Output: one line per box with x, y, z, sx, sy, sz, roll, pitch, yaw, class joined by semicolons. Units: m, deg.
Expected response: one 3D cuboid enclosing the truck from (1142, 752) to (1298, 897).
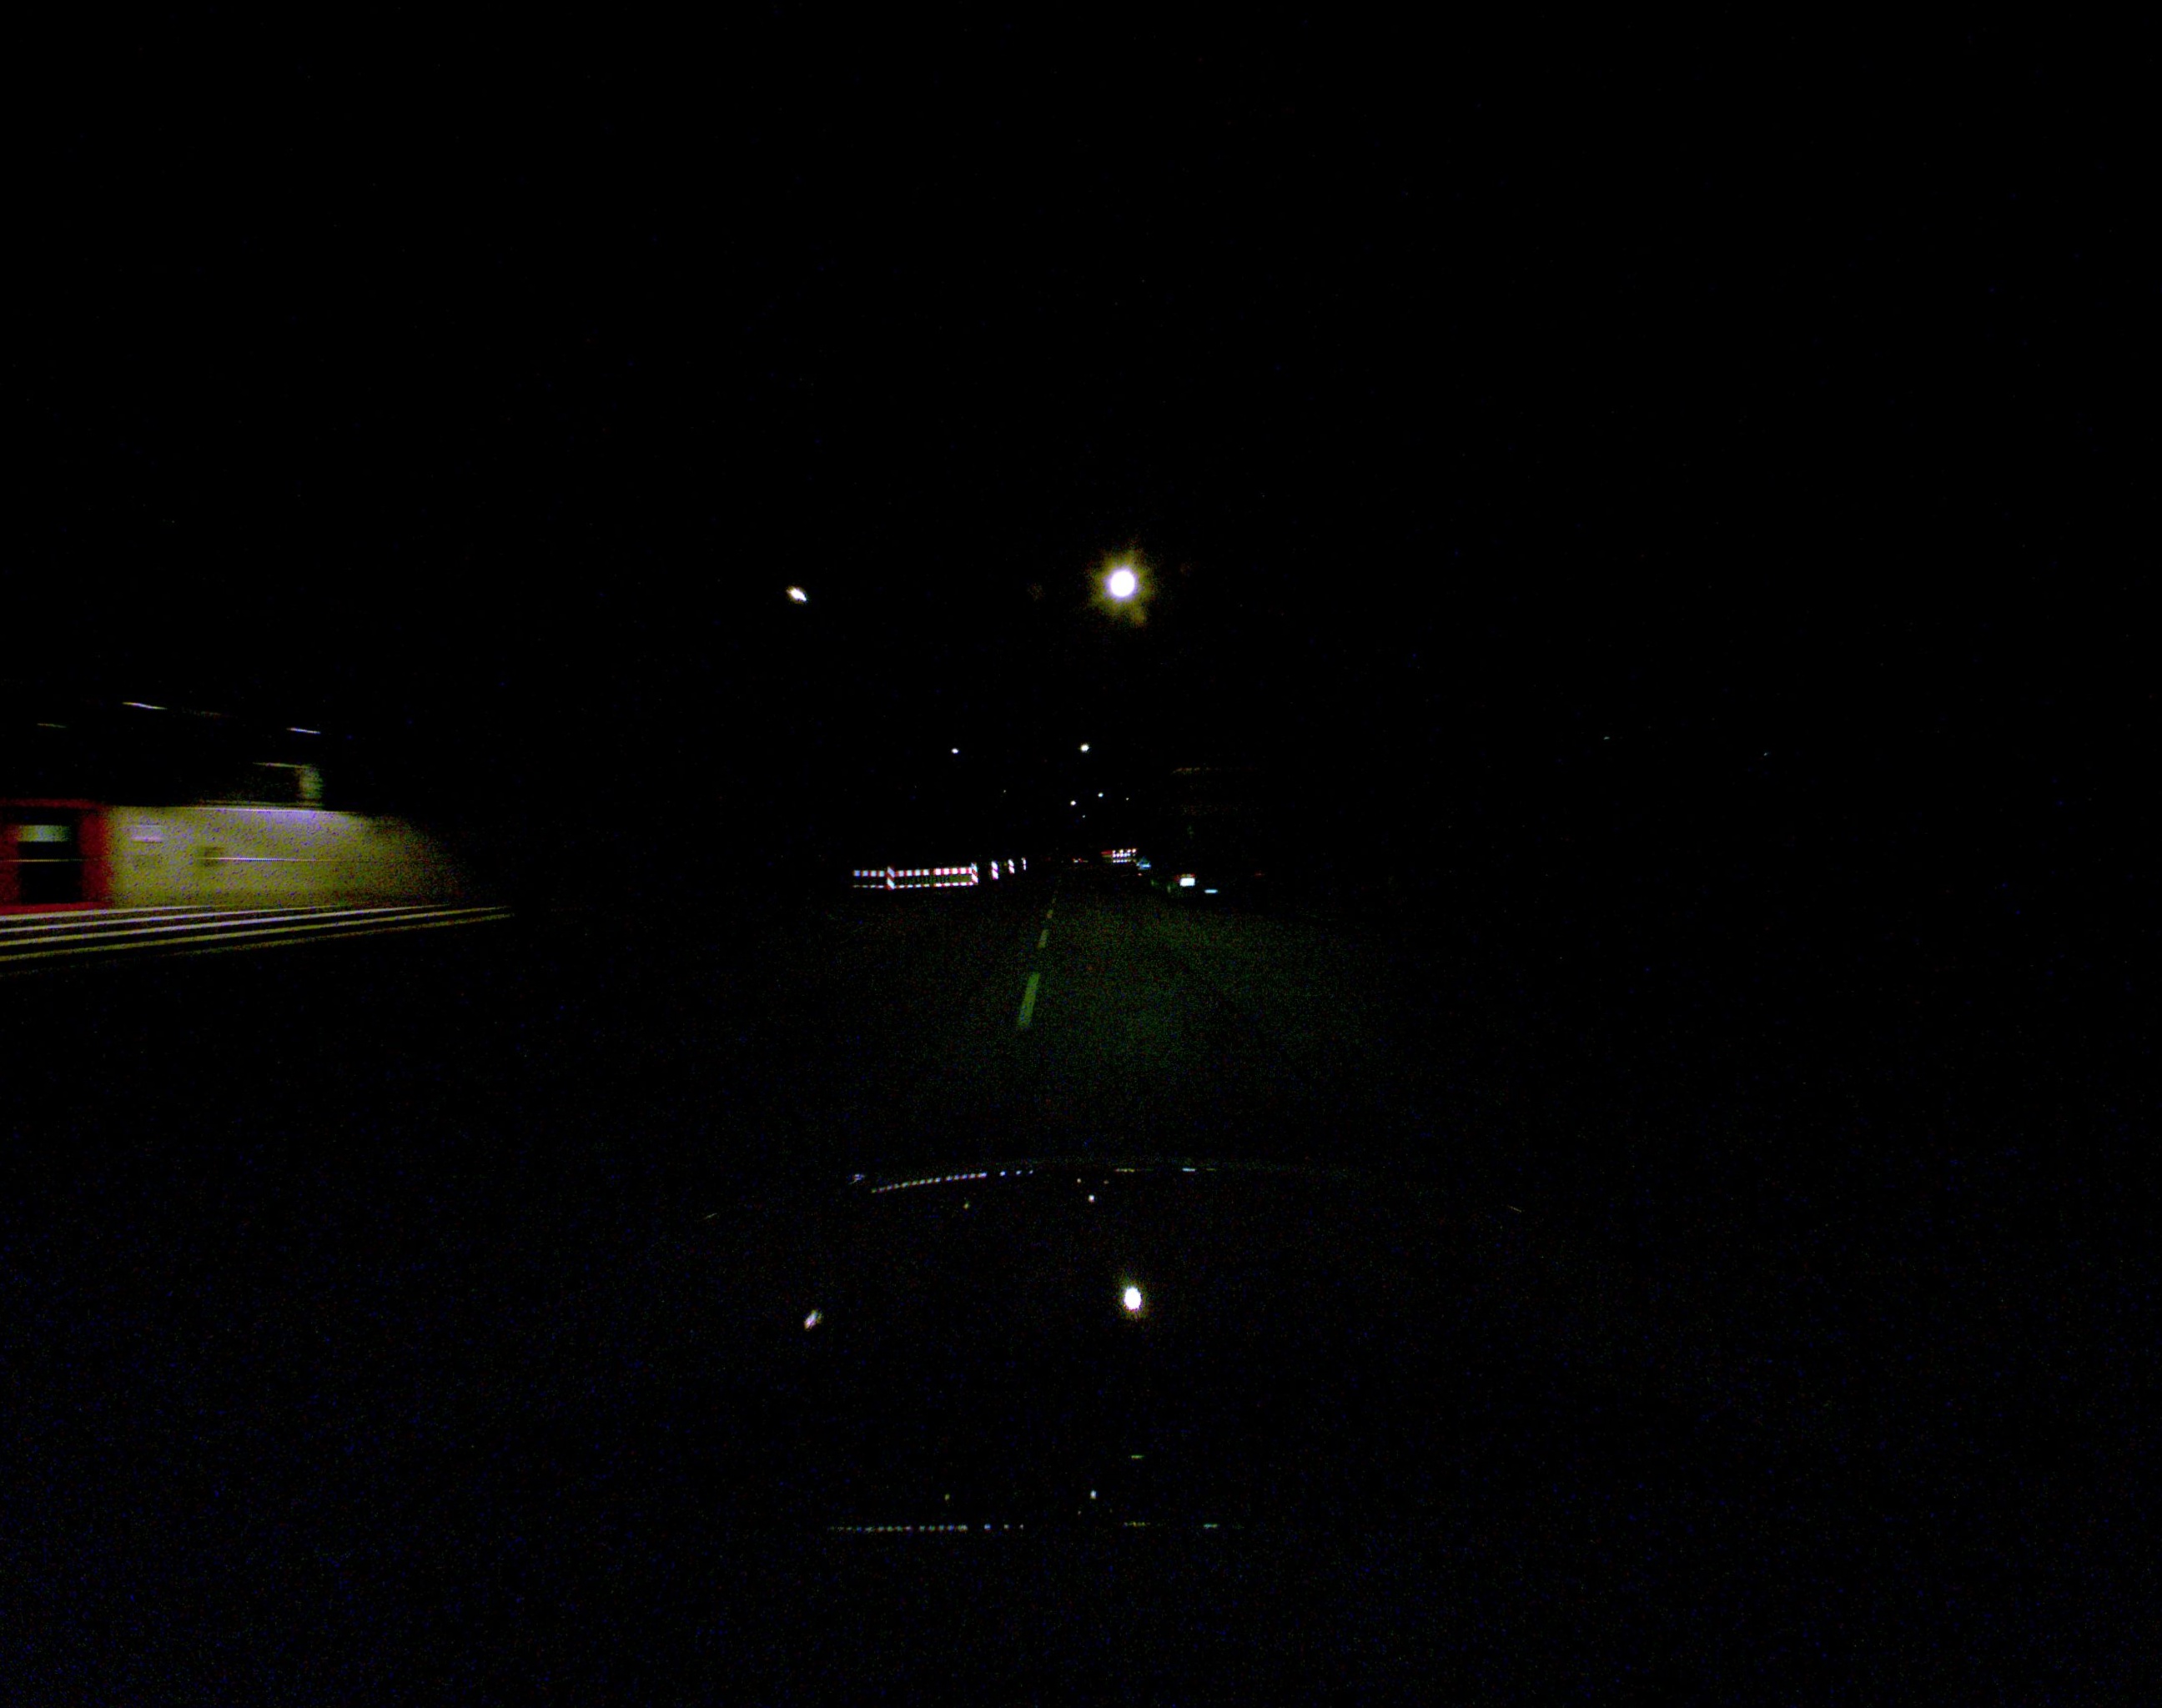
4.161;-0.819;26.951;3.315;3.868;9.323;-2;0;-1;truck

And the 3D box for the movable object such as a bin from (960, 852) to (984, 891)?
-8.472;1.308;63.139;1.570;2.733;3.691;-5;1;-8;movable object such as a bin

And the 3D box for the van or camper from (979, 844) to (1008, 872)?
-10.798;0.498;100.886;2.511;3.094;7.444;-4;0;0;van or camper

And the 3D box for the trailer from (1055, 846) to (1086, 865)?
-1.394;0.225;104.264;1.568;2.160;5.173;-4;-1;-28;trailer

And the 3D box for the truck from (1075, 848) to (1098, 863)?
1.369;0.340;189.816;1.976;3.403;9.029;-2;1;23;truck

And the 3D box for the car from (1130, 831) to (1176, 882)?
3.854;0.093;44.564;2.101;2.516;6.374;-2;1;2;car

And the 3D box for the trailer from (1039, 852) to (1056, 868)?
-6.678;1.176;160.822;1.979;2.813;4.721;-3;0;14;trailer

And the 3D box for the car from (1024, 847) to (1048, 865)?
-8.516;0.377;154.121;2.502;3.171;7.163;-4;0;13;car

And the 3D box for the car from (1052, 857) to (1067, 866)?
-4.464;1.595;171.430;1.979;1.699;4.222;-2;-1;14;car

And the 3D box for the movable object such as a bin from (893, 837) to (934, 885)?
-9.180;0.387;44.477;1.555;2.467;2.819;-4;0;-22;movable object such as a bin

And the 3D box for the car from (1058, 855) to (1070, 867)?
-2.485;0.970;119.012;1.715;1.661;3.998;-2;-1;0;car

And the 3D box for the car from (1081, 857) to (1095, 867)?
1.277;1.428;147.672;1.708;1.821;4.015;-2;-1;14;car

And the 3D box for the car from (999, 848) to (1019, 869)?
-11.127;0.661;125.723;2.513;2.927;7.194;-4;0;-2;car
